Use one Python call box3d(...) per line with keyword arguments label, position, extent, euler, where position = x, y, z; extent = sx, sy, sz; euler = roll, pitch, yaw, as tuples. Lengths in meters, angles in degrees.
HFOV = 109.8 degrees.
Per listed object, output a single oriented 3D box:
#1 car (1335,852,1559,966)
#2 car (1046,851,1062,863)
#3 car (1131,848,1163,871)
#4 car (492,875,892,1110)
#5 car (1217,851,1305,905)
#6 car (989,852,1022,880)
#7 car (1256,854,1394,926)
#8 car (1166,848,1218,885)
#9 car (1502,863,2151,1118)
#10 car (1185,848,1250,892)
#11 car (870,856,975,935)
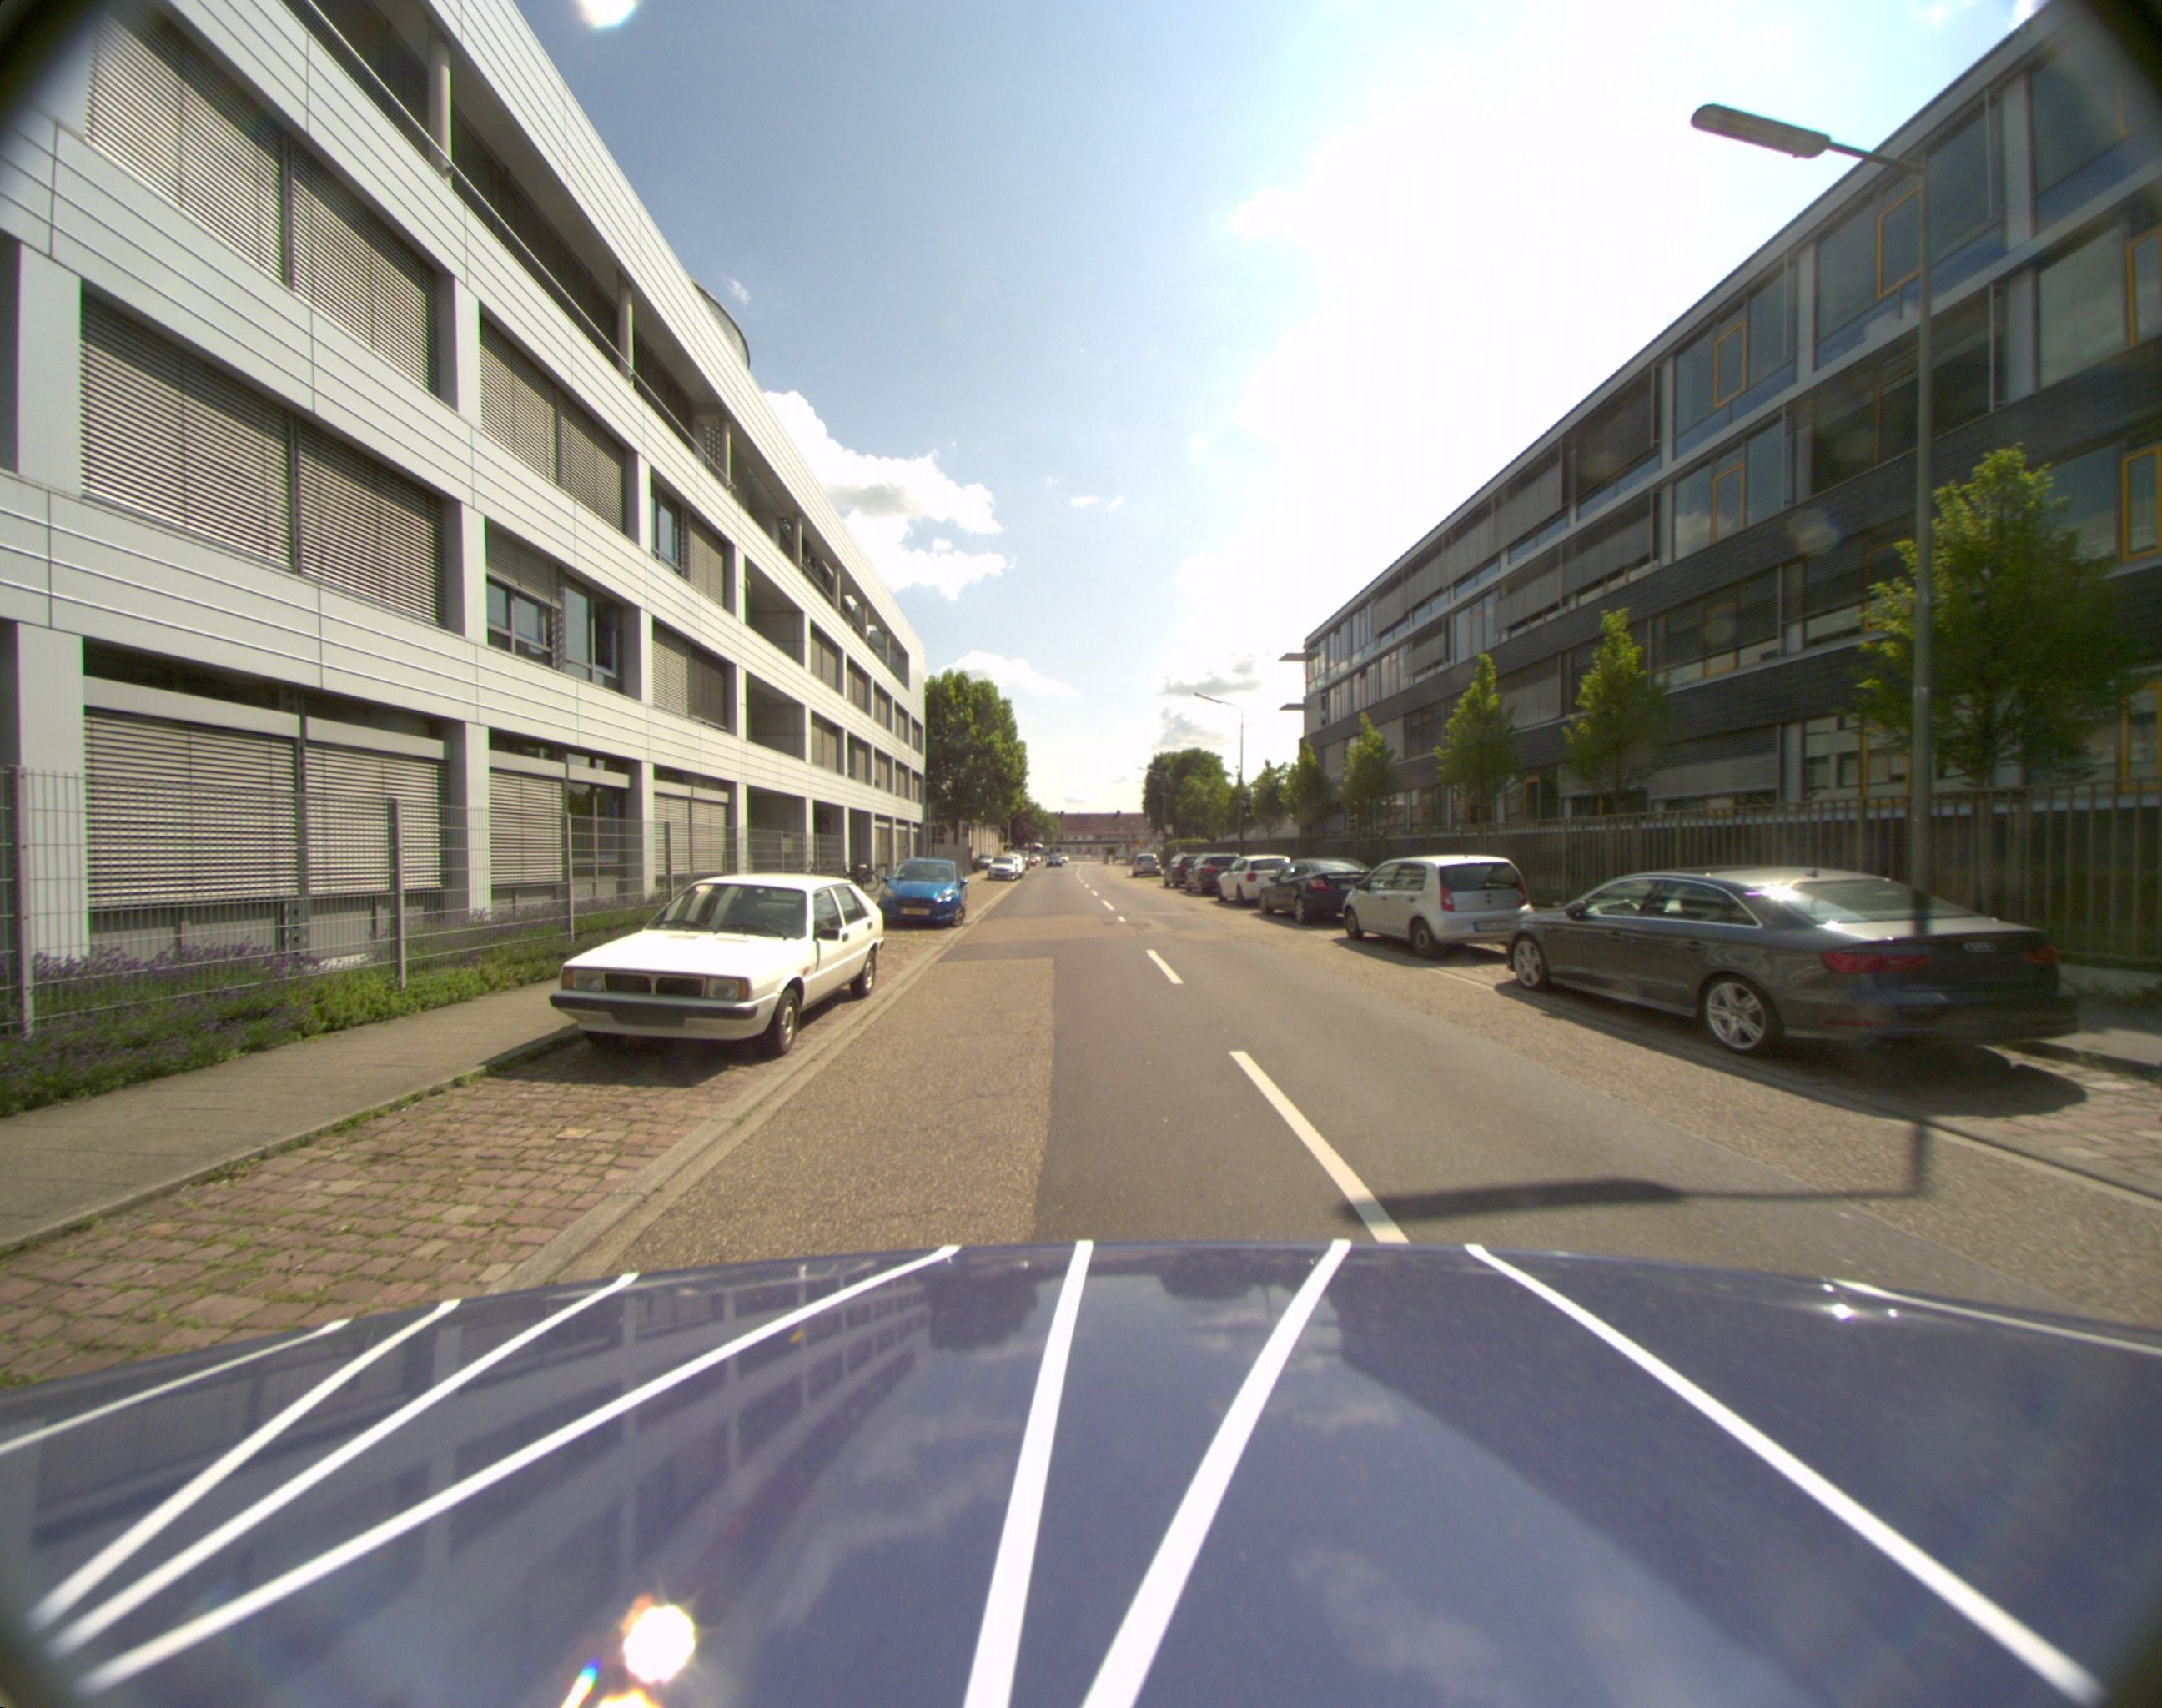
box3d(label="car", position=(5.615, 0.752, 12.169), extent=(1.666, 1.473, 3.515), euler=(-2, 1, -4))
box3d(label="car", position=(-2.970, 0.303, 83.861), extent=(1.660, 1.280, 3.742), euler=(2, 1, -2))
box3d(label="car", position=(4.314, 0.333, 50.108), extent=(1.677, 1.507, 3.742), euler=(0, 1, -2))
box3d(label="car", position=(-3.176, 1.012, 7.277), extent=(1.677, 1.360, 4.158), euler=(3, 1, -1))
box3d(label="car", position=(5.197, 0.637, 22.386), extent=(1.567, 1.446, 3.742), euler=(0, 1, -2))
box3d(label="car", position=(-4.381, 0.682, 44.579), extent=(1.660, 1.507, 3.742), euler=(2, 1, -2))
box3d(label="car", position=(5.394, 0.726, 17.350), extent=(1.671, 1.396, 3.998), euler=(-1, 1, -3))
box3d(label="car", position=(4.824, 0.499, 33.524), extent=(1.567, 1.507, 4.034), euler=(0, 1, -2))
box3d(label="car", position=(5.741, 0.863, 6.728), extent=(1.666, 1.389, 4.104), euler=(-2, 1, -1))
box3d(label="car", position=(4.960, 0.553, 28.035), extent=(1.567, 1.507, 3.742), euler=(0, 1, -2))
box3d(label="car", position=(-3.502, 0.855, 17.476), extent=(1.814, 1.496, 3.998), euler=(3, 0, -5))
